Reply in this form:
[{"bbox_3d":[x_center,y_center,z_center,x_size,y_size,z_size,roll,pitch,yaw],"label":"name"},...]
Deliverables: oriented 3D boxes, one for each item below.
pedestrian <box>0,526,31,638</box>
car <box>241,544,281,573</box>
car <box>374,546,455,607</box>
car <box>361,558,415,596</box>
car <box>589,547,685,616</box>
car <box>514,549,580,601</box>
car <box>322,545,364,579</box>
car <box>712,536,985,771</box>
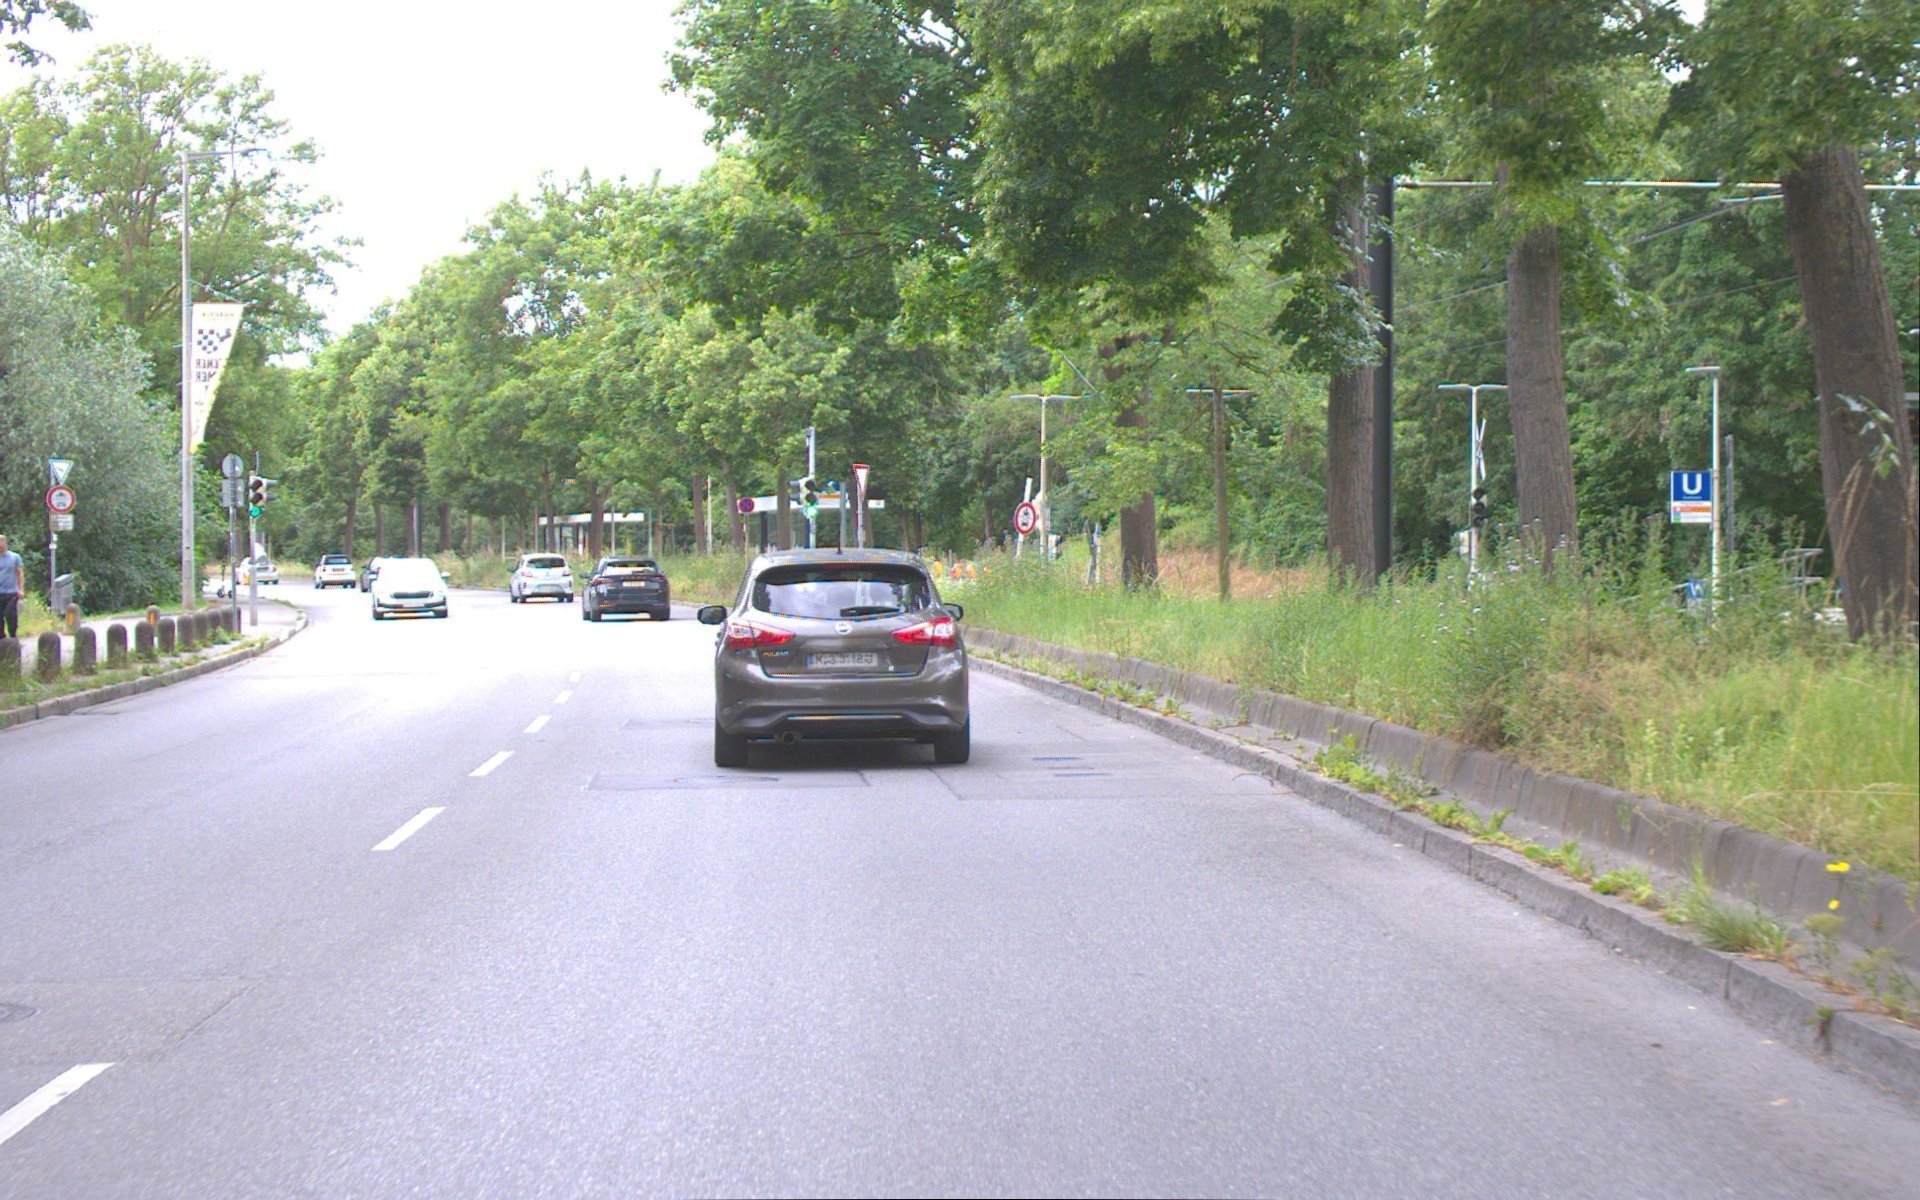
[{"bbox_3d":[-14.158,-0.275,50.739,0.689,1.628,0.838,2,1,-5],"label":"pedestrian"},{"bbox_3d":[-36.301,-2.164,178.512,1.775,1.467,4.001,2,1,-15],"label":"car"},{"bbox_3d":[-13.550,-0.595,85.593,1.773,1.434,4.362,-1,1,-7],"label":"car"},{"bbox_3d":[-23.555,-0.968,141.527,1.775,1.467,4.001,2,0,-15],"label":"car"},{"bbox_3d":[-7.238,-0.426,77.287,1.776,1.467,4.000,2,1,-1],"label":"car"},{"bbox_3d":[-12.539,-0.770,104.308,1.775,1.467,4.001,2,1,-9],"label":"car"},{"bbox_3d":[-28.323,-1.766,157.874,1.775,1.467,4.001,0,1,-12],"label":"car"},{"bbox_3d":[-0.782,0.325,25.170,1.816,1.503,4.001,-1,2,-1],"label":"car"}]
